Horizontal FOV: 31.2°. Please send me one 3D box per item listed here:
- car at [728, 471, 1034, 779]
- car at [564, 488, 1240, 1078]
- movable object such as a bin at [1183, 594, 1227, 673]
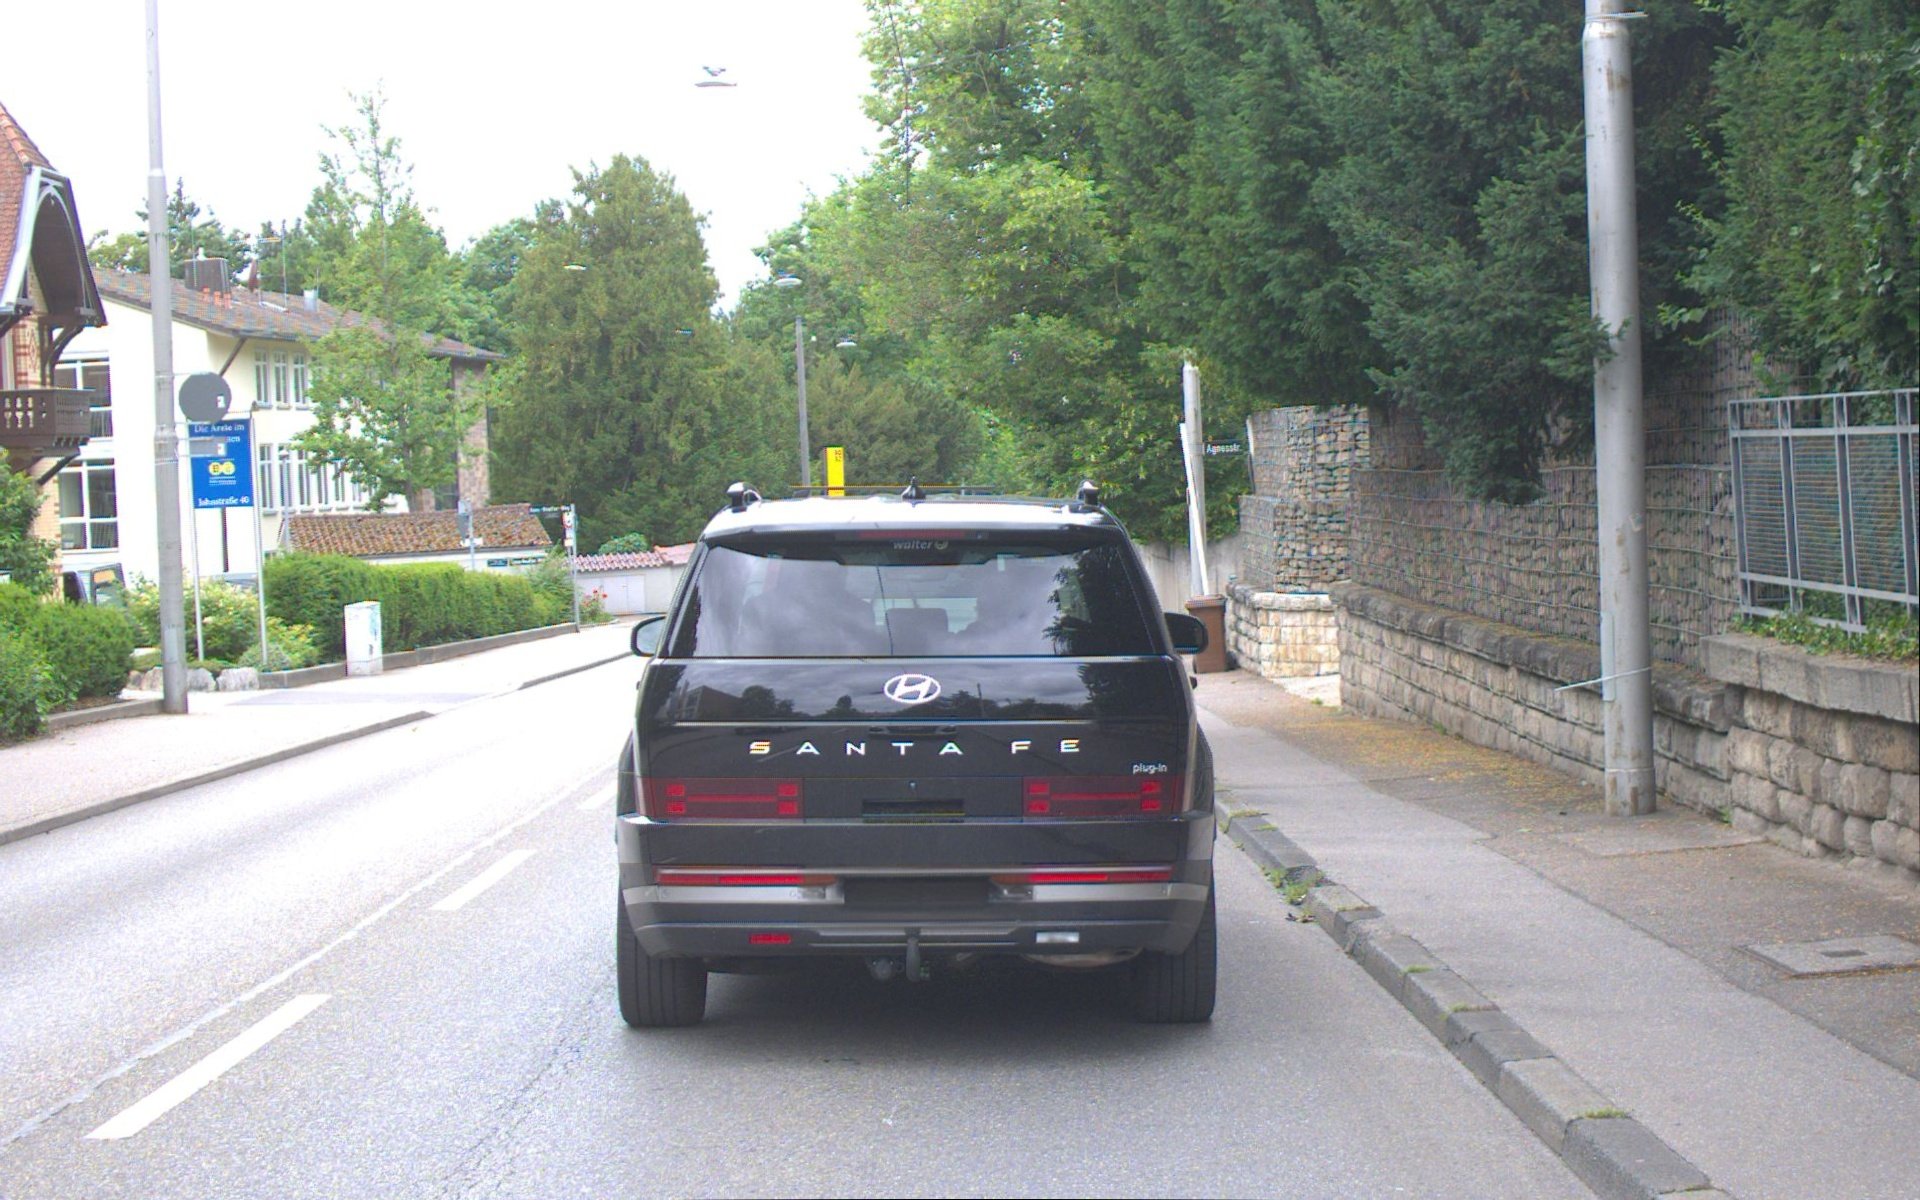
[{"bbox_3d":[-0.564,0.082,24.332,1.957,1.949,4.224,0,3,-1],"label":"car"},{"bbox_3d":[-0.167,0.487,12.076,1.957,1.707,4.223,0,1,0],"label":"car"},{"bbox_3d":[2.905,0.398,40.701,0.445,0.907,0.394,-2,1,9],"label":"movable object such as a bin"}]
